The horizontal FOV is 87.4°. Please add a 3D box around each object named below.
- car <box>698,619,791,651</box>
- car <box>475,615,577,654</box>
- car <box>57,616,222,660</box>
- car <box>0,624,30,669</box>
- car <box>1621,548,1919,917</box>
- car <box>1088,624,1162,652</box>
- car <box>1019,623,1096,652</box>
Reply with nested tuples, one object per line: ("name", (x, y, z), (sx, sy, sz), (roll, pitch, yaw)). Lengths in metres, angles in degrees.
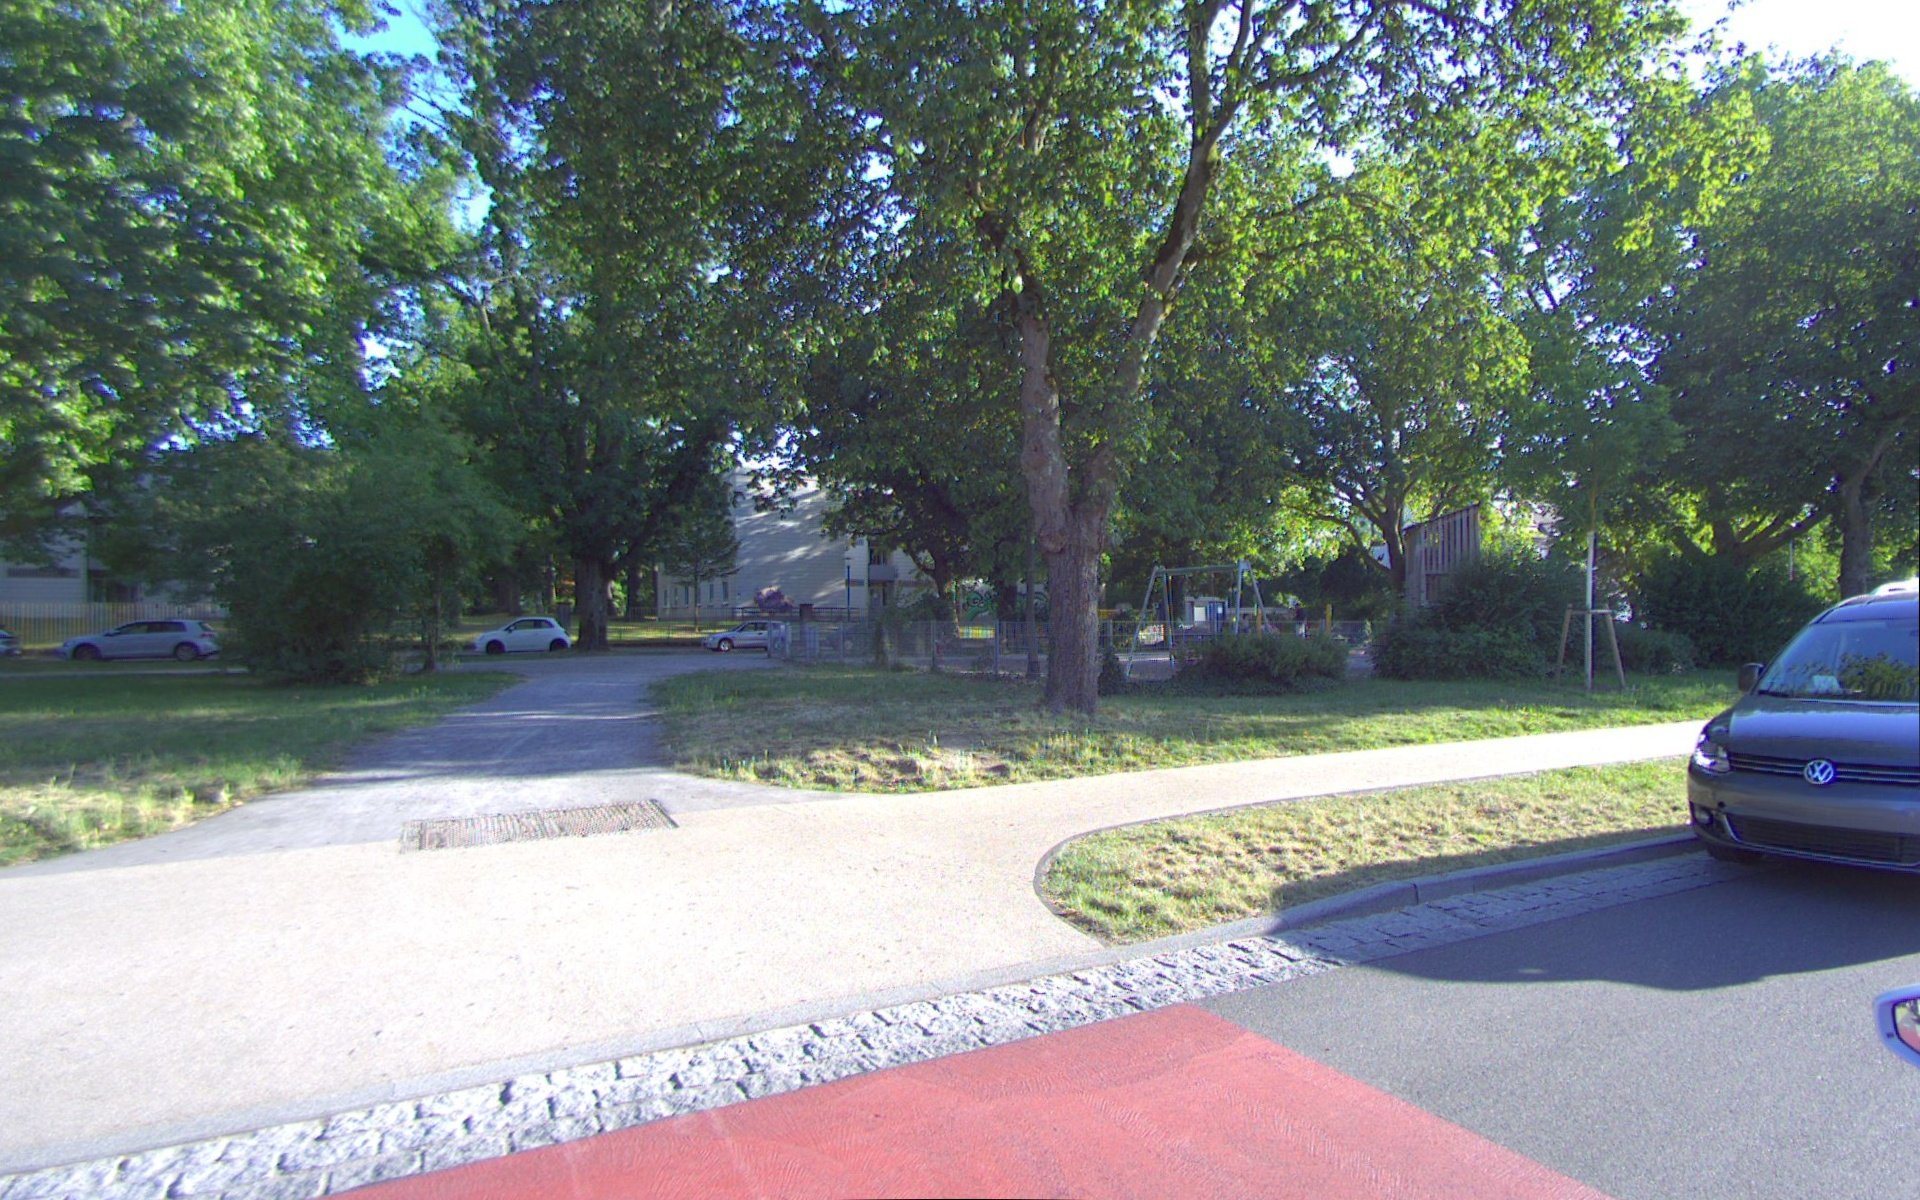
("car", (-9.408, 1.495, 43.901), (3.704, 1.309, 1.516), (0, 0, -27))
("car", (-17.044, 1.324, 39.487), (3.615, 1.483, 1.595), (0, 0, -26))
("car", (-27.462, 1.238, 33.776), (4.057, 1.386, 1.515), (0, 0, -29))
("car", (-31.947, 1.470, 31.527), (3.746, 1.386, 1.515), (0, 0, -29))
("car", (6.601, 0.731, 6.653), (4.518, 1.871, 1.836), (1, -3, -30))
("car", (8.742, 1.997, 53.033), (3.704, 1.386, 1.516), (0, 0, -27))
("car", (4.992, 1.905, 51.264), (3.704, 1.386, 1.516), (0, 0, -27))
